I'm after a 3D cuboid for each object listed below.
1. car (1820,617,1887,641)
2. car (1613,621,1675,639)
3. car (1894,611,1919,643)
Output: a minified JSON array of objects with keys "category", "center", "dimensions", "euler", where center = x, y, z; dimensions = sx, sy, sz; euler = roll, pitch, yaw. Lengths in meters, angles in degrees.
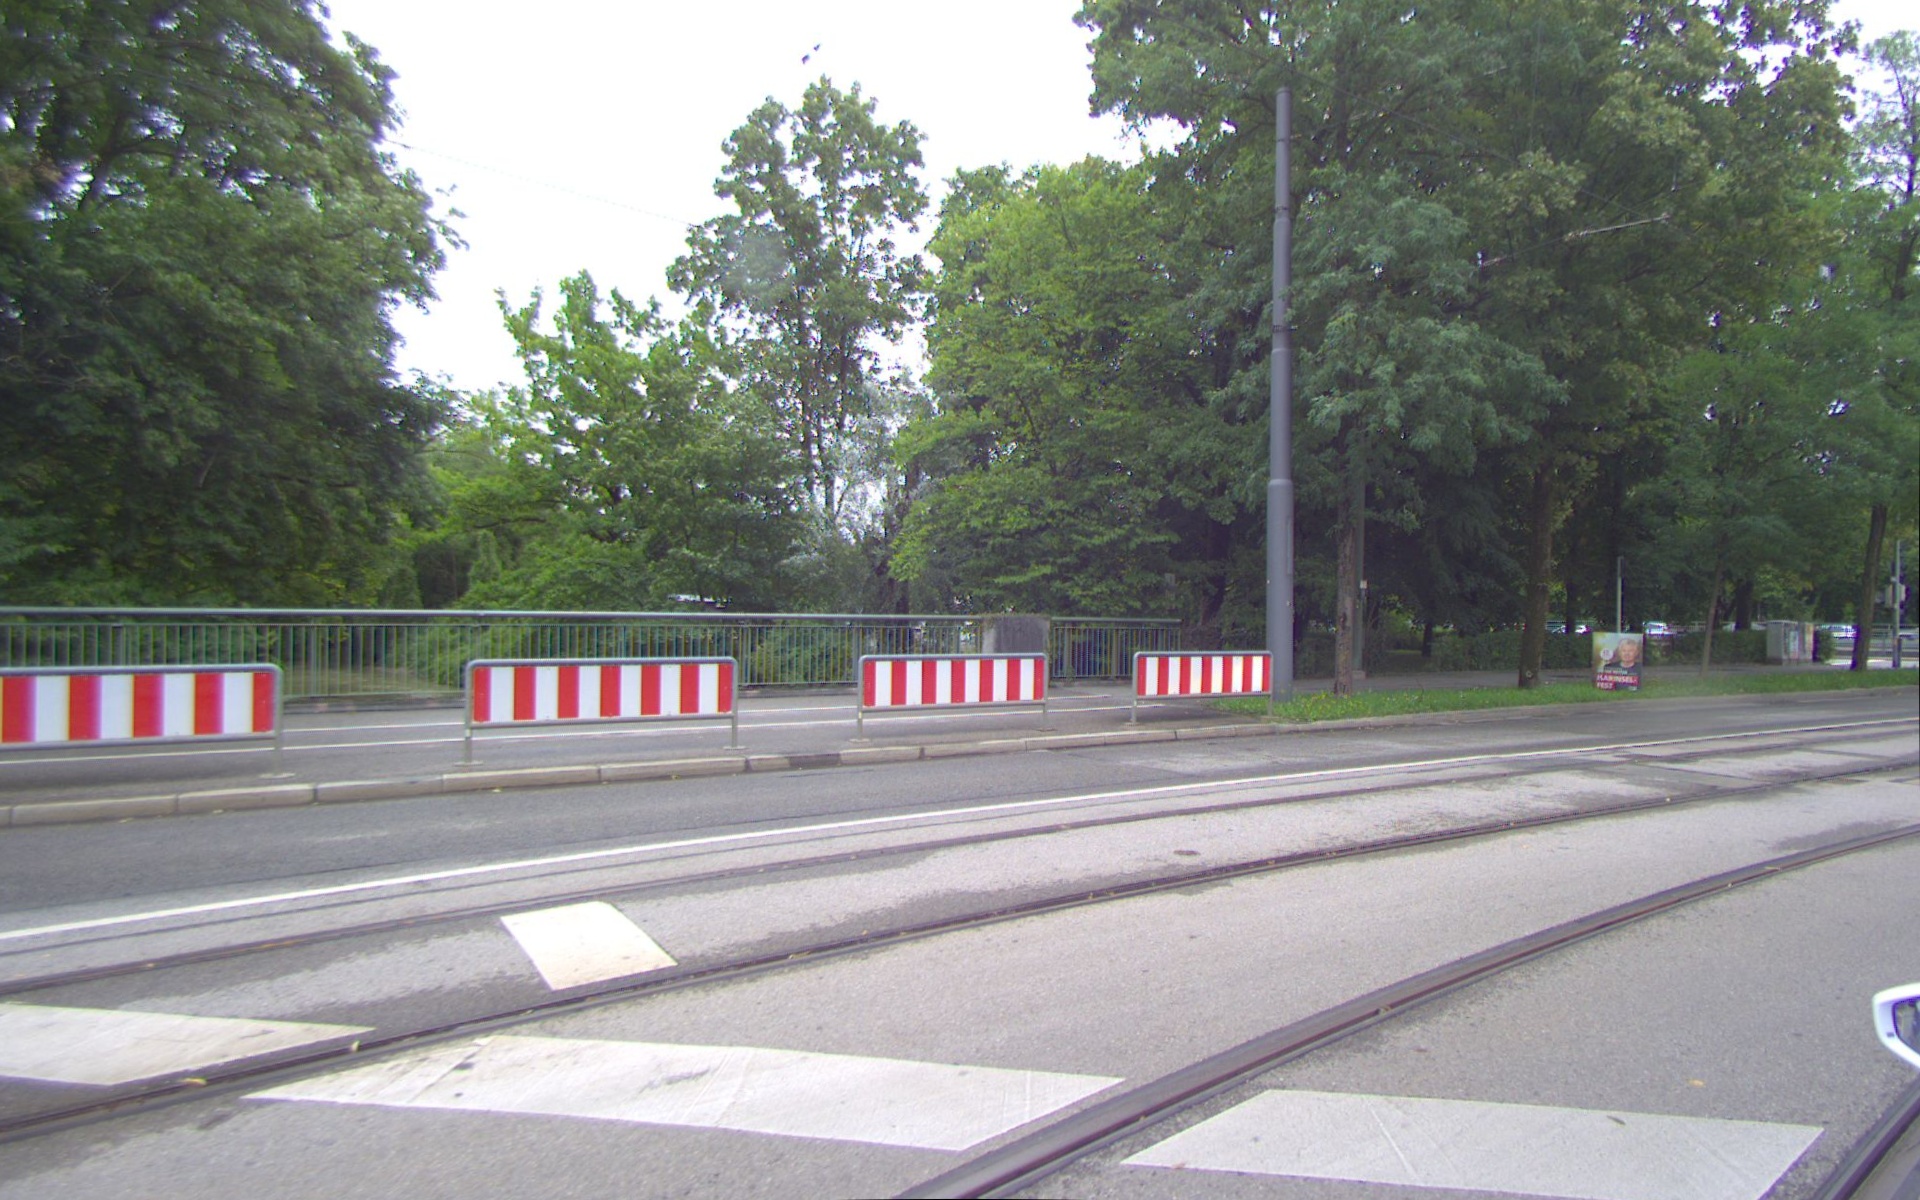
[{"category":"car","center":[58.815,1.902,66.146],"dimensions":[1.237,1.471,3.091],"euler":[1,1,-33]},{"category":"car","center":[52.176,2.281,76.721],"dimensions":[1.237,1.201,3.706],"euler":[1,1,-33]},{"category":"car","center":[61.123,1.743,62.626],"dimensions":[1.475,1.912,3.996],"euler":[1,1,-35]}]
